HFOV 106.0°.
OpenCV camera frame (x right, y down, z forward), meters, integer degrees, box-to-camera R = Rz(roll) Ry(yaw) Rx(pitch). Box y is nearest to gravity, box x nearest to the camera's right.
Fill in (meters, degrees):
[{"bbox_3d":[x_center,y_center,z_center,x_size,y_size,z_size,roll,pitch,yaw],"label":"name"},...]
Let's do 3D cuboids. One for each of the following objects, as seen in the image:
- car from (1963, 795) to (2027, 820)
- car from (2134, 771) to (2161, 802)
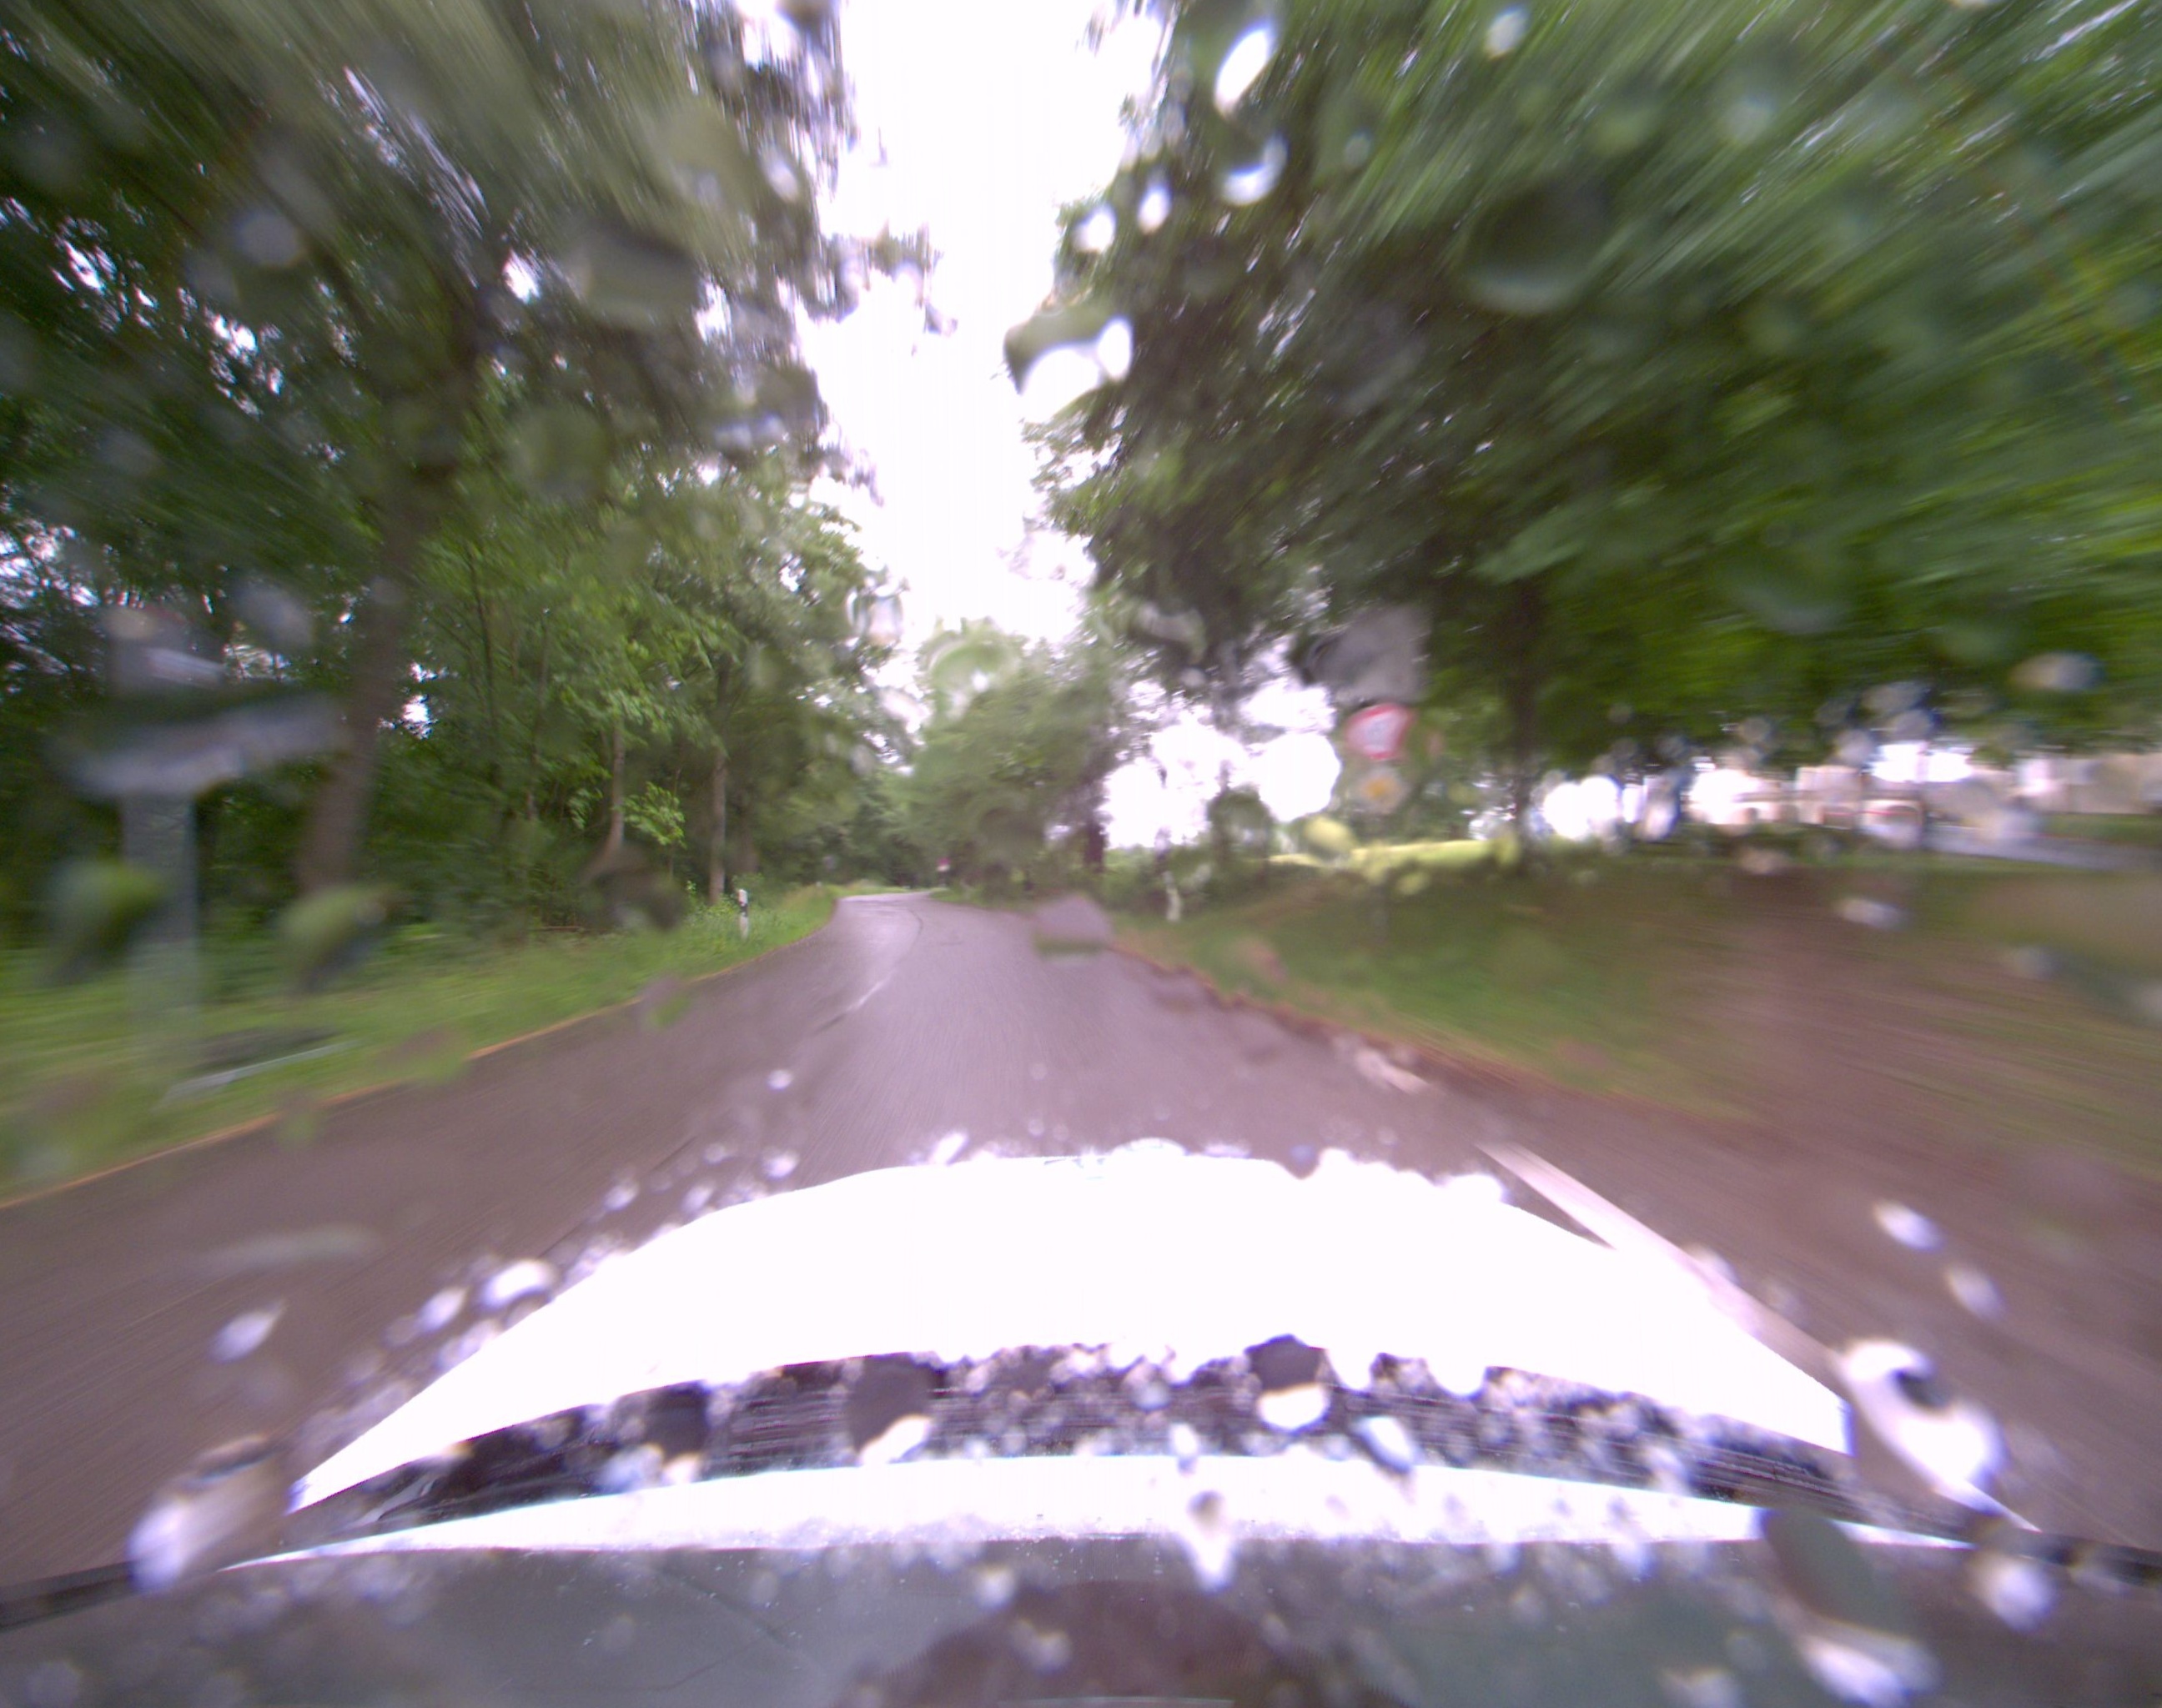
[{"bbox_3d":[65.430,-3.308,58.396,1.974,1.551,5.096,-3,0,36],"label":"car"},{"bbox_3d":[52.666,-3.313,38.557,1.974,1.428,4.322,-3,0,31],"label":"car"}]
